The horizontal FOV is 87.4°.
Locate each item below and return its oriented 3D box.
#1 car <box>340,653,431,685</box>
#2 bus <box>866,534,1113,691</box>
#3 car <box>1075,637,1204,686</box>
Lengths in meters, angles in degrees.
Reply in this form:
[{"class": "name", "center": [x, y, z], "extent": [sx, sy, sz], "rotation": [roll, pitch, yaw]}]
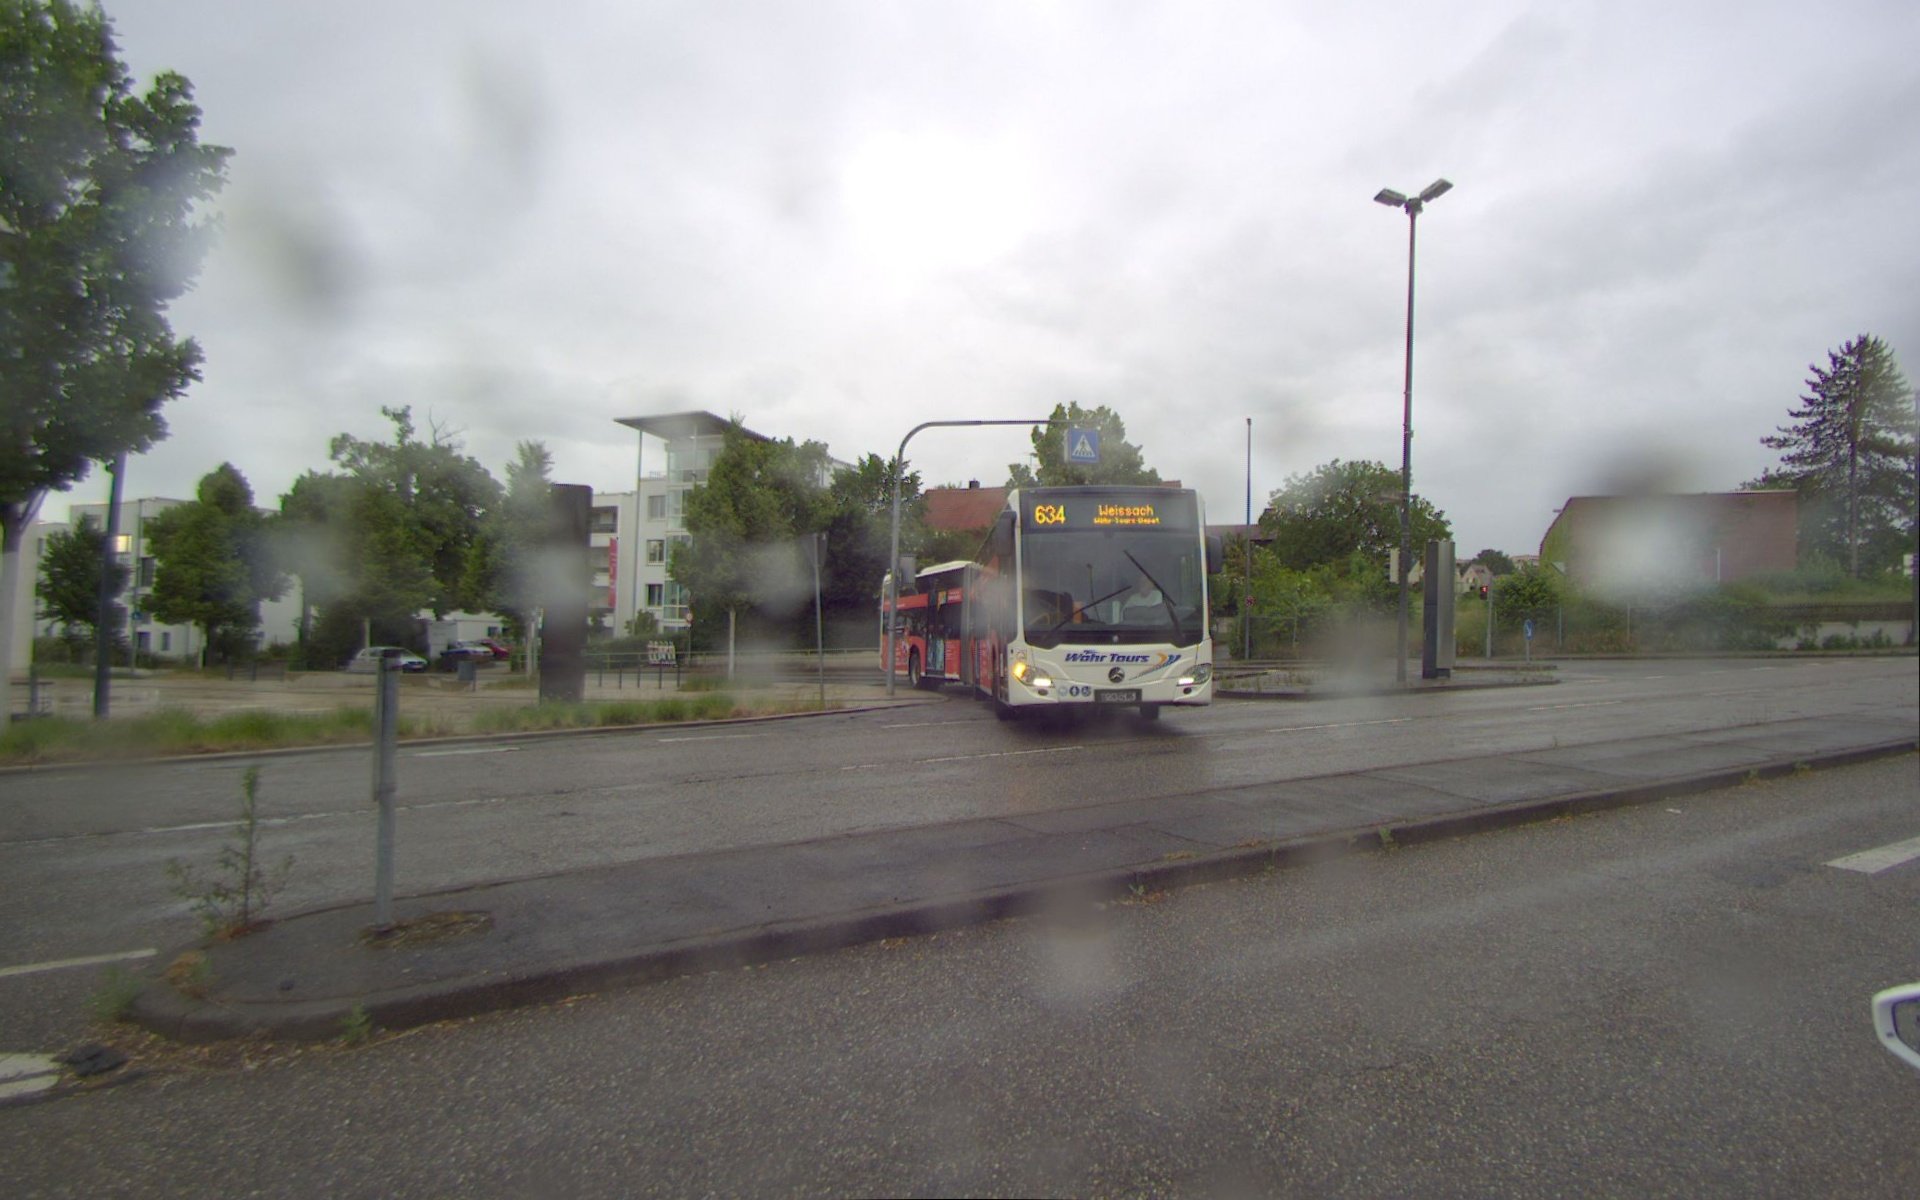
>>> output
[{"class": "car", "center": [-28.014, 3.345, 48.975], "extent": [3.920, 1.486, 1.587], "rotation": [0, -2, 17]}, {"class": "bus", "center": [0.267, 0.388, 25.062], "extent": [2.745, 3.155, 9.322], "rotation": [1, -2, -21]}, {"class": "car", "center": [5.695, 1.922, 31.929], "extent": [3.683, 1.437, 1.763], "rotation": [-2, -2, 31]}]
